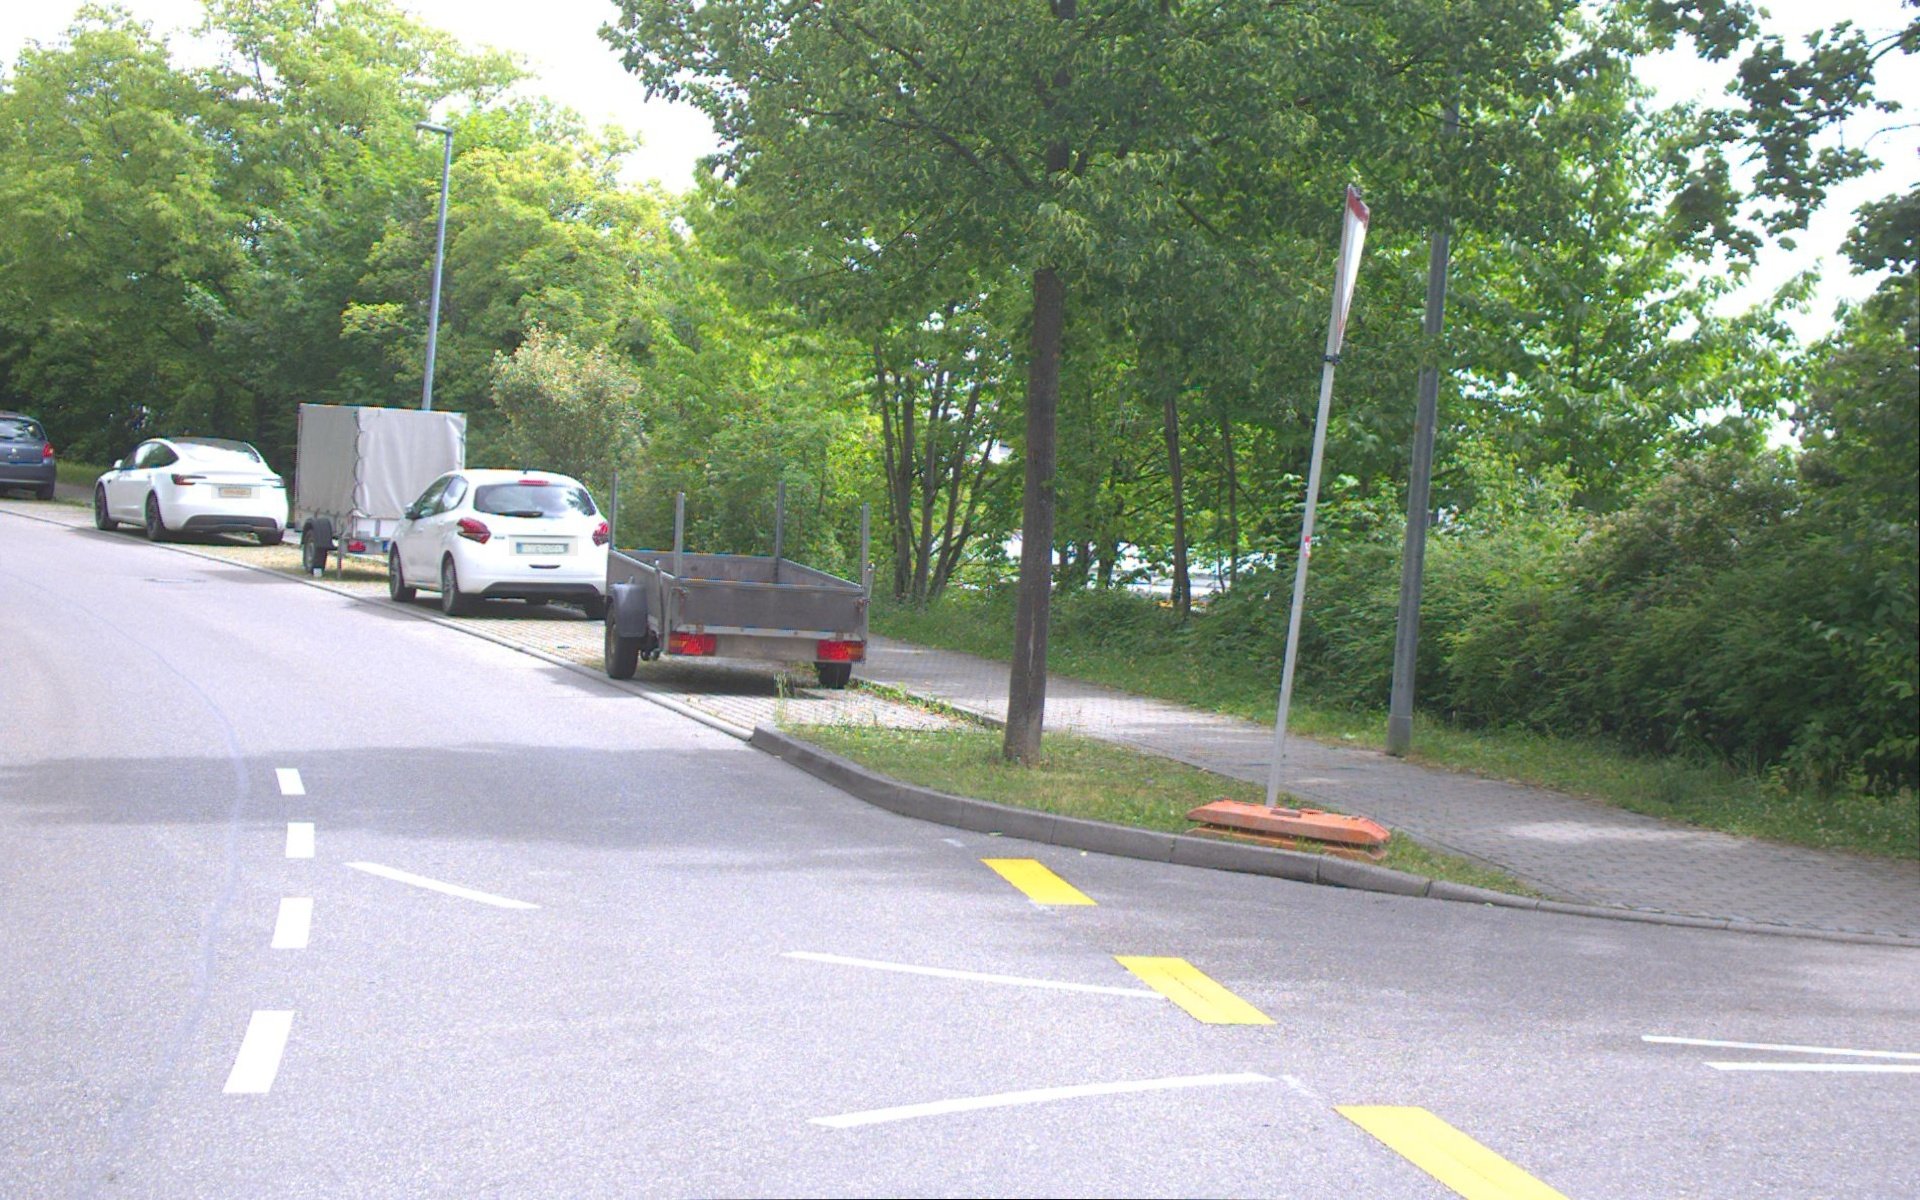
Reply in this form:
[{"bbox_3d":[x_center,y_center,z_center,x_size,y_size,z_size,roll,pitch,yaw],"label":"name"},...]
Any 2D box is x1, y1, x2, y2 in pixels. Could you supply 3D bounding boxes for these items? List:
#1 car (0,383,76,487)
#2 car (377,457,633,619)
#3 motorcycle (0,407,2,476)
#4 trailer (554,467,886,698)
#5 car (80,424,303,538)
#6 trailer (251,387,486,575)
[{"bbox_3d":[-16.978,-2.893,59.631,1.886,1.681,4.352,-1,5,-33],"label":"car"},{"bbox_3d":[-4.812,-0.688,35.898,1.768,1.406,4.002,2,4,-20],"label":"car"},{"bbox_3d":[-18.766,-2.932,62.837,2.167,1.261,1.069,3,5,6],"label":"motorcycle"},{"bbox_3d":[-1.968,-0.191,27.029,1.783,1.520,4.002,2,3,-15],"label":"trailer"},{"bbox_3d":[-11.065,-1.729,49.303,1.886,1.371,4.353,2,3,-30],"label":"car"},{"bbox_3d":[-7.268,-1.494,41.920,1.740,2.103,4.002,1,3,-26],"label":"trailer"}]
